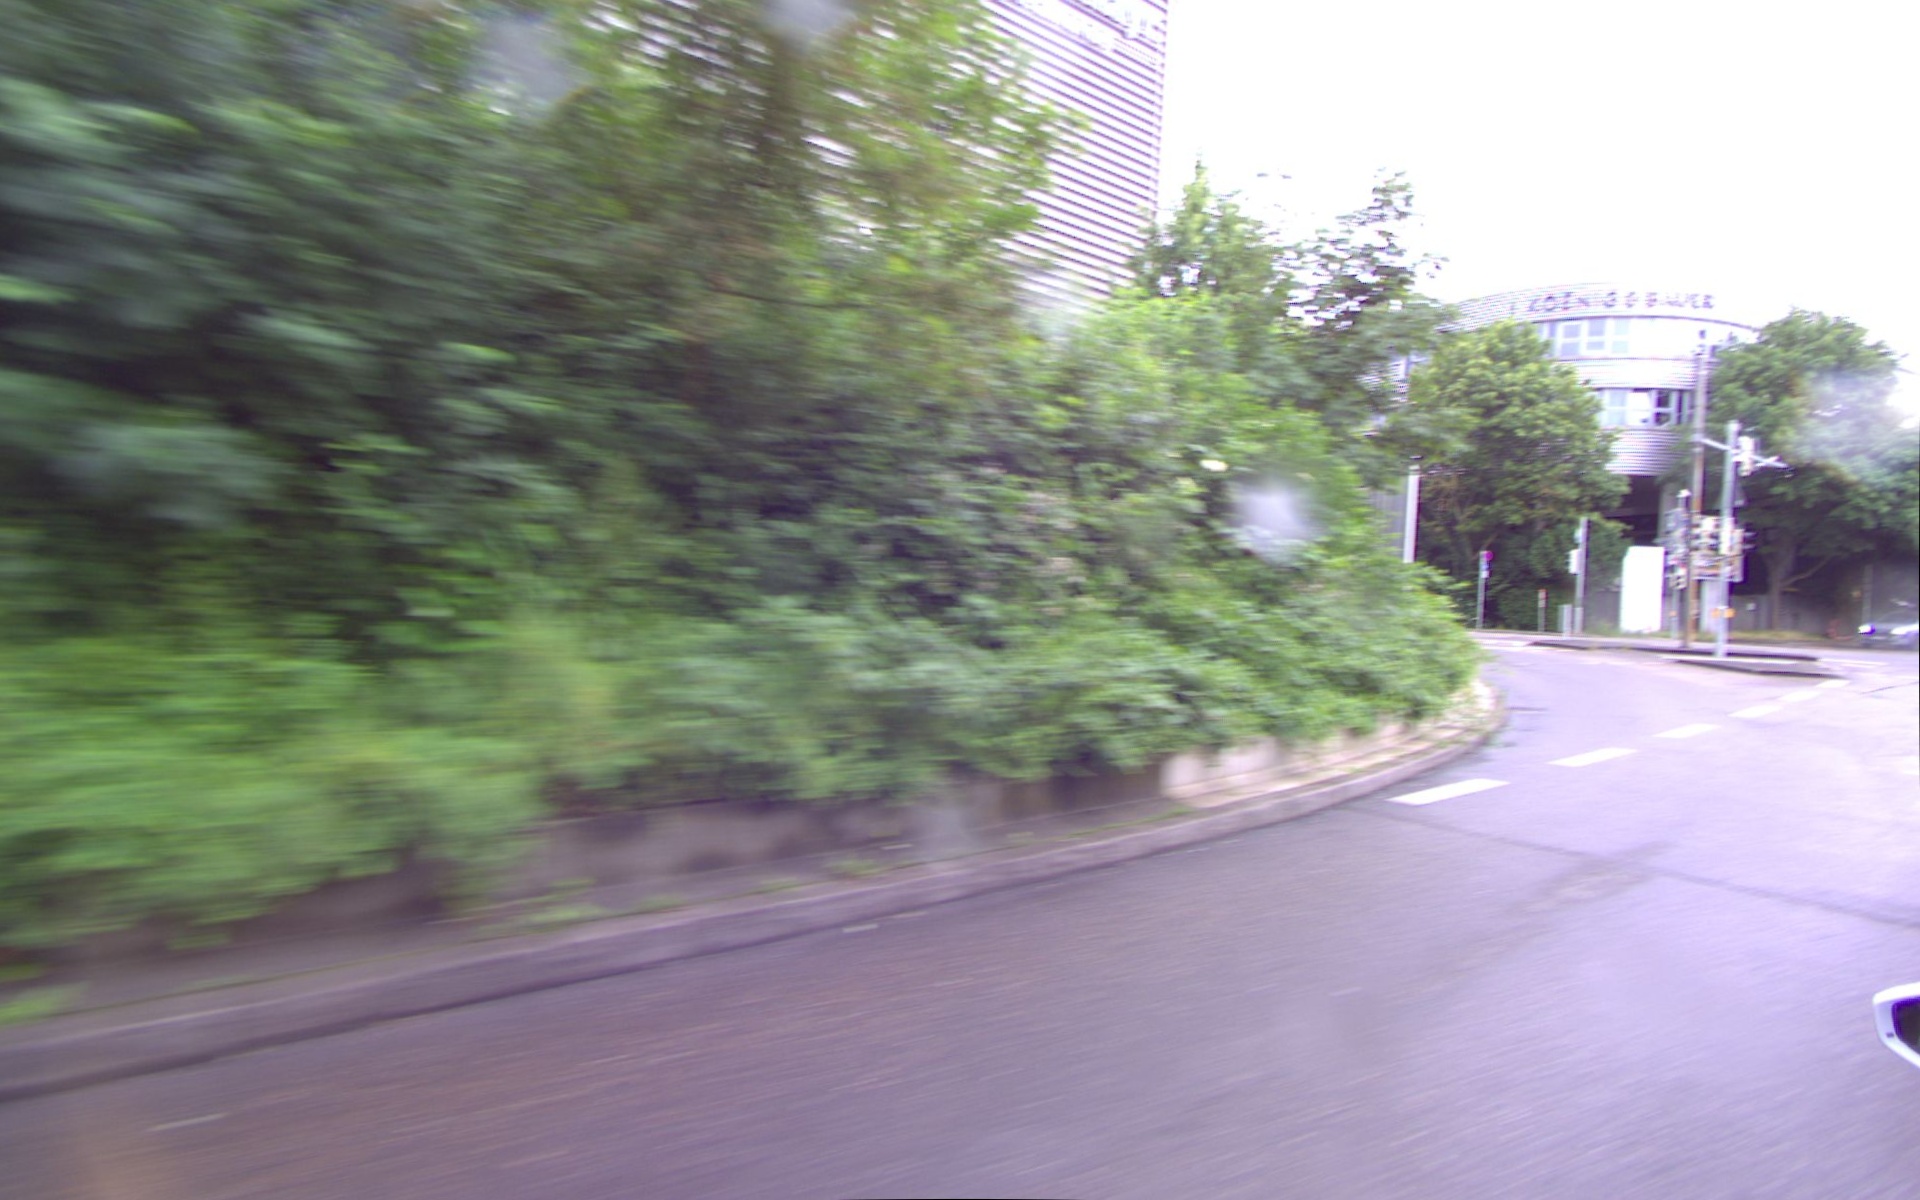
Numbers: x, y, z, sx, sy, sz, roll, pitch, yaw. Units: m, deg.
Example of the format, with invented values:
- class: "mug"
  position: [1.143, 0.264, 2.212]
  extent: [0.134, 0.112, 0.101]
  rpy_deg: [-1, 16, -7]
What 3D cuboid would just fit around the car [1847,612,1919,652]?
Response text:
- class: "car"
  position: [40.515, 1.335, 43.056]
  extent: [4.318, 1.621, 2.024]
  rpy_deg: [0, 1, -22]
